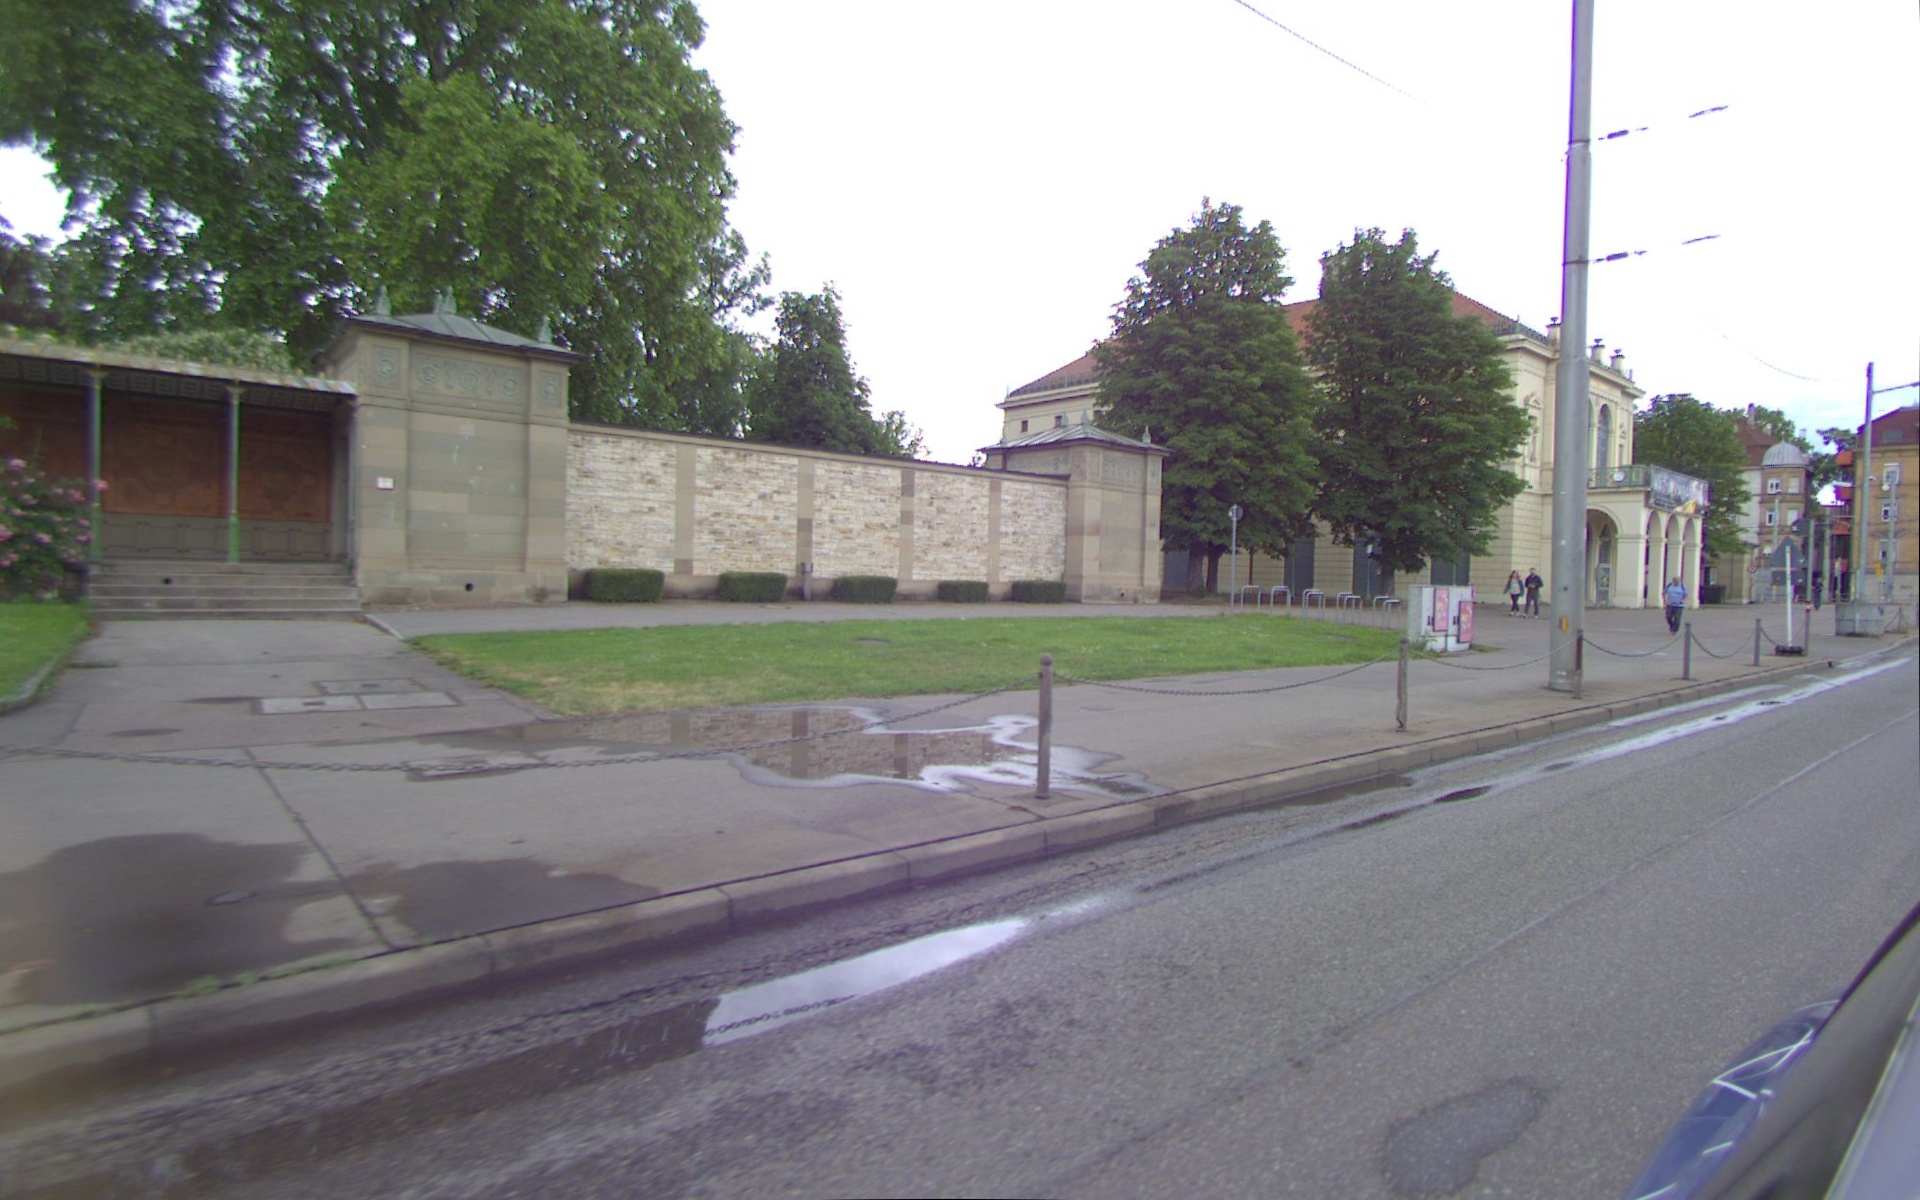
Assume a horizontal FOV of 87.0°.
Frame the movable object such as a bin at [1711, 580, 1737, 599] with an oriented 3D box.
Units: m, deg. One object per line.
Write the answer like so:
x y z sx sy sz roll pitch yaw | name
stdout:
58.174 -0.779 77.056 1.355 1.385 1.297 0 2 -41 | movable object such as a bin

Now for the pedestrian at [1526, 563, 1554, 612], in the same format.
20.830 -0.447 36.335 0.776 1.720 0.597 0 2 -41 | pedestrian

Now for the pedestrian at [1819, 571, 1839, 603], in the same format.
49.428 -0.731 57.584 0.920 1.789 0.672 0 2 -41 | pedestrian

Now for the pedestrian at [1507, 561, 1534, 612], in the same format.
20.384 -0.506 36.809 0.794 1.814 0.596 0 2 -41 | pedestrian

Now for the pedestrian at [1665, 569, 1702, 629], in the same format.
21.974 -0.044 30.734 0.920 1.789 0.672 0 2 -41 | pedestrian

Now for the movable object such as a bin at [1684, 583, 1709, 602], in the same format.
57.136 -0.587 78.500 1.355 1.423 1.297 0 2 -41 | movable object such as a bin

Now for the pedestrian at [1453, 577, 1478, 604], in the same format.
19.576 -0.360 39.212 0.748 1.013 0.594 2 2 15 | pedestrian
